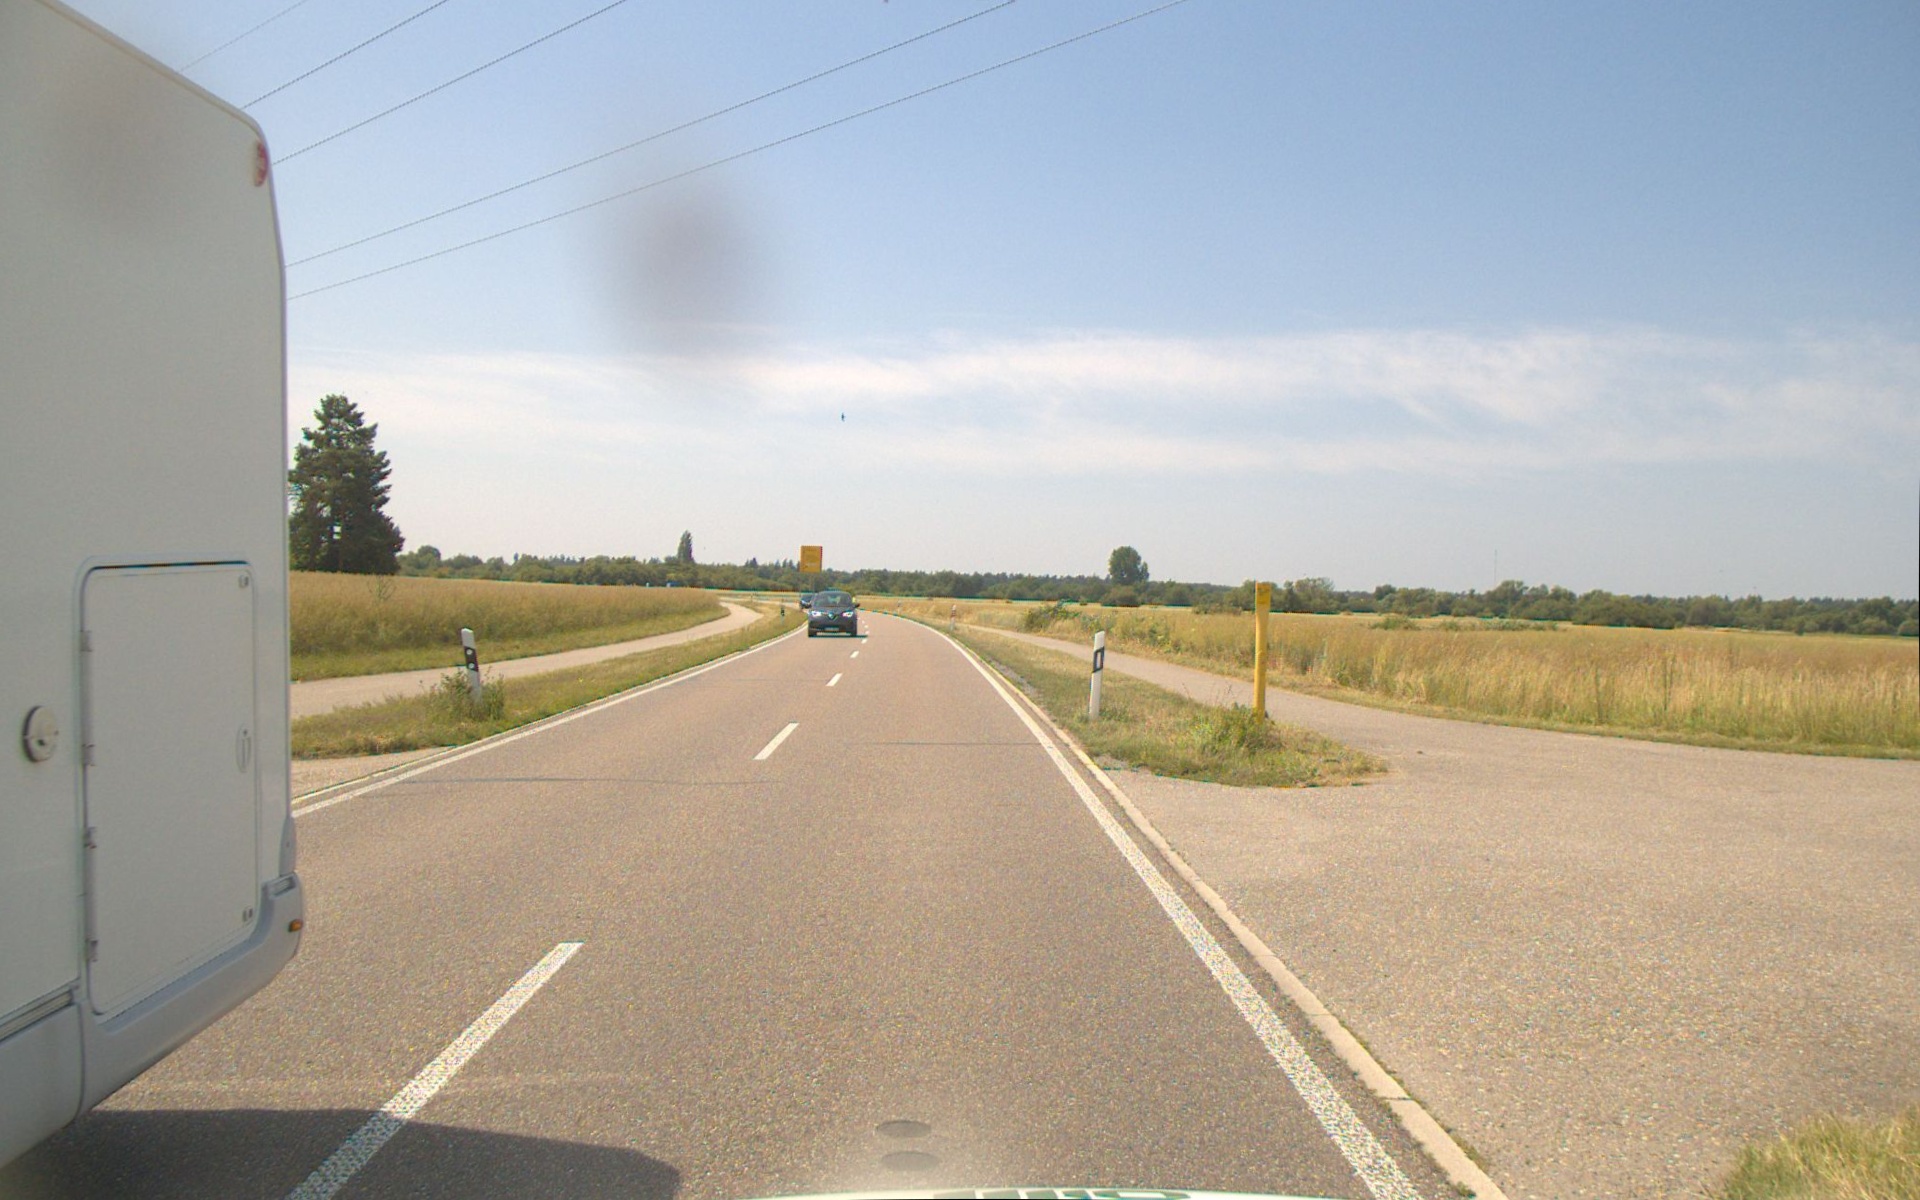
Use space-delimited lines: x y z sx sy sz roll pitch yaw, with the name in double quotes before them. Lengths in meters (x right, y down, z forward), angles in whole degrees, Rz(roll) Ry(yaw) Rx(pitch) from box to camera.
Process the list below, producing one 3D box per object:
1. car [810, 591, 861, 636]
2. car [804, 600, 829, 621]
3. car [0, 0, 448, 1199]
"car" -4.376 0.493 58.399 1.591 1.517 3.999 0 -1 -1
"car" -11.057 0.811 127.532 1.677 1.614 3.501 0 -1 -2
"car" -2.941 0.003 1.992 2.348 2.896 7.626 1 0 -1
